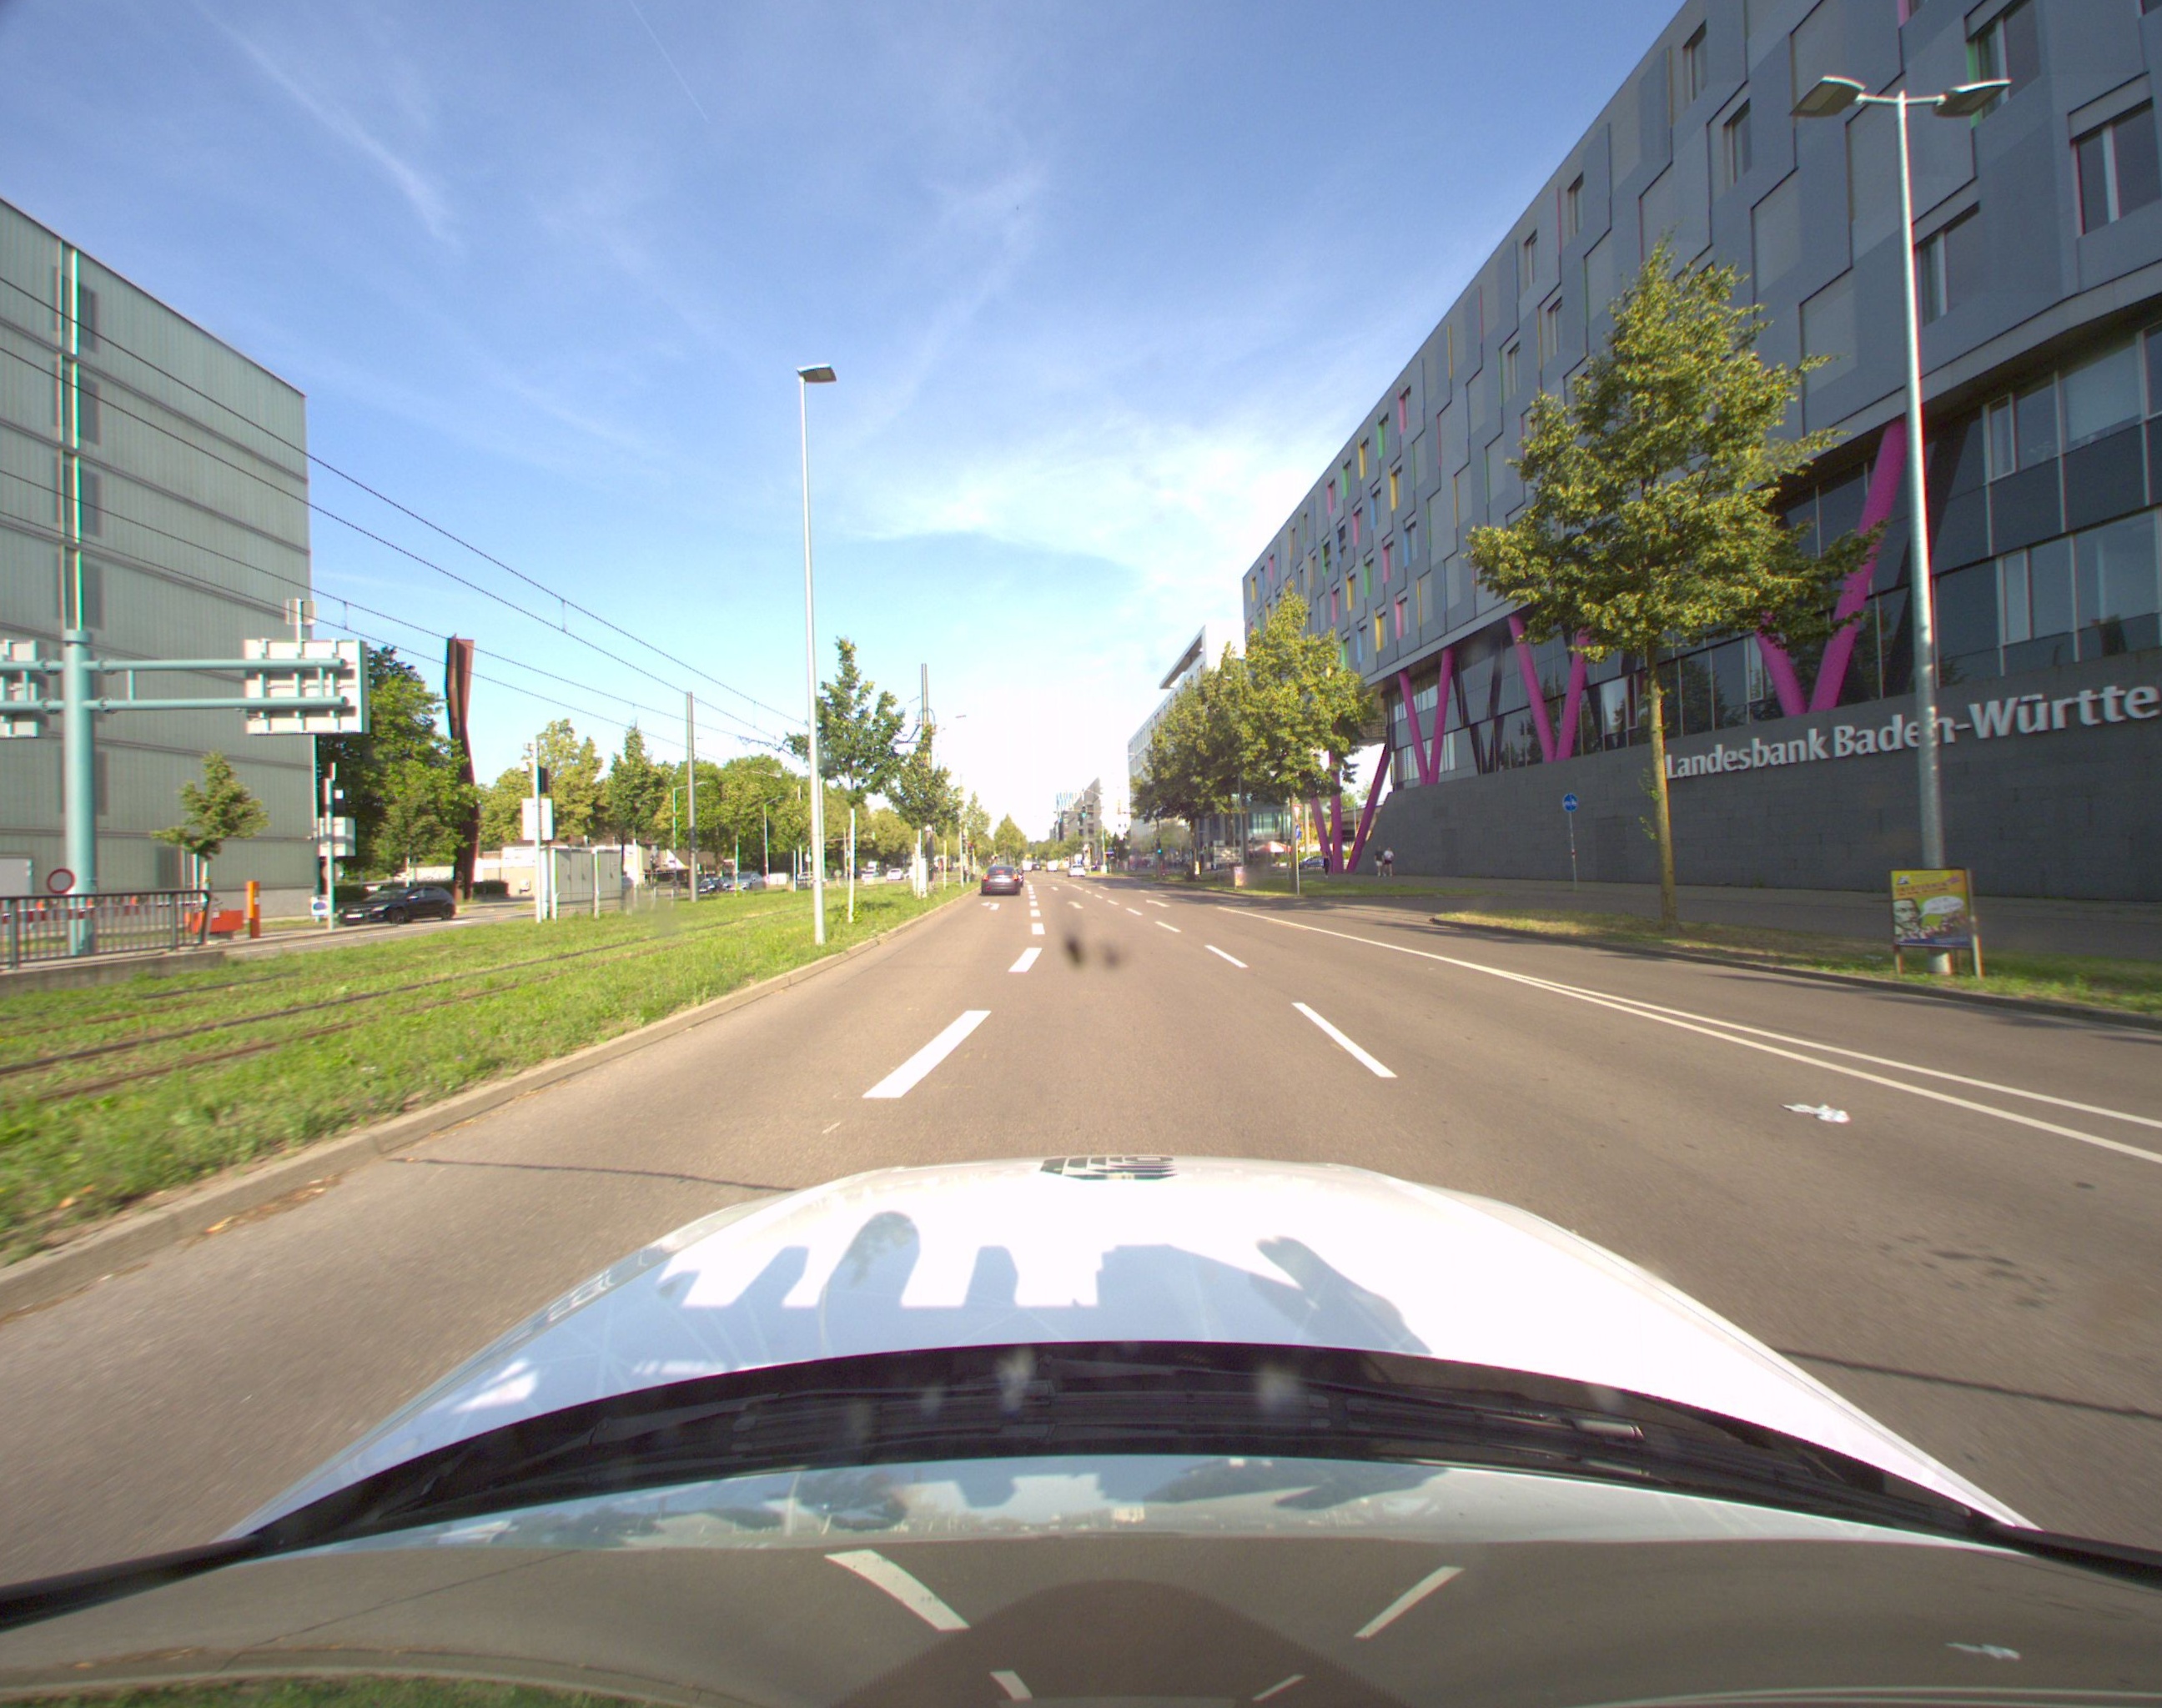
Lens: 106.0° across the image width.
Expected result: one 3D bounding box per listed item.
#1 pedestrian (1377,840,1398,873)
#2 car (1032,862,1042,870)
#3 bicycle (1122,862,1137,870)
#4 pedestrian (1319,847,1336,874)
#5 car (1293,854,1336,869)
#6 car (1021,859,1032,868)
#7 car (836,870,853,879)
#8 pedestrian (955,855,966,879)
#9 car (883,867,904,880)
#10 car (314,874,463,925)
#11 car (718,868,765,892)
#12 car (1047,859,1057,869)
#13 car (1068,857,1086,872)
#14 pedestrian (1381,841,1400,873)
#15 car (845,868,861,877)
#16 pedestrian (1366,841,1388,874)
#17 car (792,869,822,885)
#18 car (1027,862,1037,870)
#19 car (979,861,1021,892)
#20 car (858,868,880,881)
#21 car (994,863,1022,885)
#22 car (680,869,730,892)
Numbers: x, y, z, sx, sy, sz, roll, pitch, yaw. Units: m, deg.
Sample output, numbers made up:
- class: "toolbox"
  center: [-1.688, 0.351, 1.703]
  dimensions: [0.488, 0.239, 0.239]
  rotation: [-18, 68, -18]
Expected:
- class: "pedestrian"
  center: [17.564, 0.135, 46.694]
  dimensions: [0.767, 1.825, 0.851]
  rotation: [-4, -1, -5]
- class: "car"
  center: [-9.123, 2.527, 169.344]
  dimensions: [1.920, 1.684, 3.995]
  rotation: [0, 0, -3]
- class: "bicycle"
  center: [6.490, 1.595, 108.717]
  dimensions: [1.854, 1.032, 0.778]
  rotation: [-3, -1, 42]
- class: "pedestrian"
  center: [15.384, 0.433, 50.878]
  dimensions: [0.693, 1.639, 0.735]
  rotation: [-4, -1, -5]
- class: "car"
  center: [25.518, 0.814, 89.100]
  dimensions: [4.178, 1.424, 1.856]
  rotation: [-2, 0, -5]
- class: "car"
  center: [-10.042, 1.691, 149.346]
  dimensions: [2.010, 1.684, 3.995]
  rotation: [0, 0, -3]
- class: "car"
  center: [-45.117, 3.896, 155.236]
  dimensions: [1.874, 1.559, 4.001]
  rotation: [-2, -1, 1]
- class: "pedestrian"
  center: [-8.787, 0.945, 59.493]
  dimensions: [0.698, 1.792, 0.634]
  rotation: [0, -1, -4]
- class: "car"
  center: [-24.569, 2.544, 106.837]
  dimensions: [1.989, 1.504, 4.087]
  rotation: [-2, -1, -4]
- class: "car"
  center: [-26.997, 1.711, 32.010]
  dimensions: [1.990, 1.687, 4.718]
  rotation: [-2, 0, -5]
- class: "car"
  center: [-25.414, 1.923, 61.148]
  dimensions: [1.993, 1.527, 4.898]
  rotation: [-5, 0, -8]
- class: "car"
  center: [-5.230, 1.773, 146.933]
  dimensions: [1.860, 1.684, 3.995]
  rotation: [0, 0, -3]
- class: "car"
  center: [-0.476, 1.172, 91.120]
  dimensions: [1.860, 1.684, 3.995]
  rotation: [0, 0, -3]
- class: "pedestrian"
  center: [17.745, 0.182, 46.721]
  dimensions: [0.655, 1.793, 0.785]
  rotation: [-4, -1, -5]
- class: "car"
  center: [-44.961, 3.664, 160.341]
  dimensions: [1.874, 1.559, 4.001]
  rotation: [-2, -1, 1]
- class: "pedestrian"
  center: [16.913, 0.216, 46.572]
  dimensions: [0.753, 1.793, 0.842]
  rotation: [-4, 0, -5]
- class: "car"
  center: [-29.828, 2.515, 88.736]
  dimensions: [1.902, 1.528, 4.435]
  rotation: [-2, 0, -4]
- class: "car"
  center: [-10.997, 2.716, 182.685]
  dimensions: [1.921, 1.684, 3.993]
  rotation: [0, 0, -5]
- class: "car"
  center: [-3.893, 1.062, 39.390]
  dimensions: [1.887, 1.386, 4.326]
  rotation: [0, 0, -5]
- class: "car"
  center: [-27.962, 2.716, 107.475]
  dimensions: [1.991, 1.528, 4.304]
  rotation: [-2, 0, -5]
- class: "car"
  center: [-4.775, 1.272, 53.398]
  dimensions: [1.761, 1.330, 4.392]
  rotation: [0, 0, -5]
- class: "car"
  center: [-29.578, 2.057, 64.228]
  dimensions: [1.990, 1.687, 4.609]
  rotation: [-2, 0, -5]
